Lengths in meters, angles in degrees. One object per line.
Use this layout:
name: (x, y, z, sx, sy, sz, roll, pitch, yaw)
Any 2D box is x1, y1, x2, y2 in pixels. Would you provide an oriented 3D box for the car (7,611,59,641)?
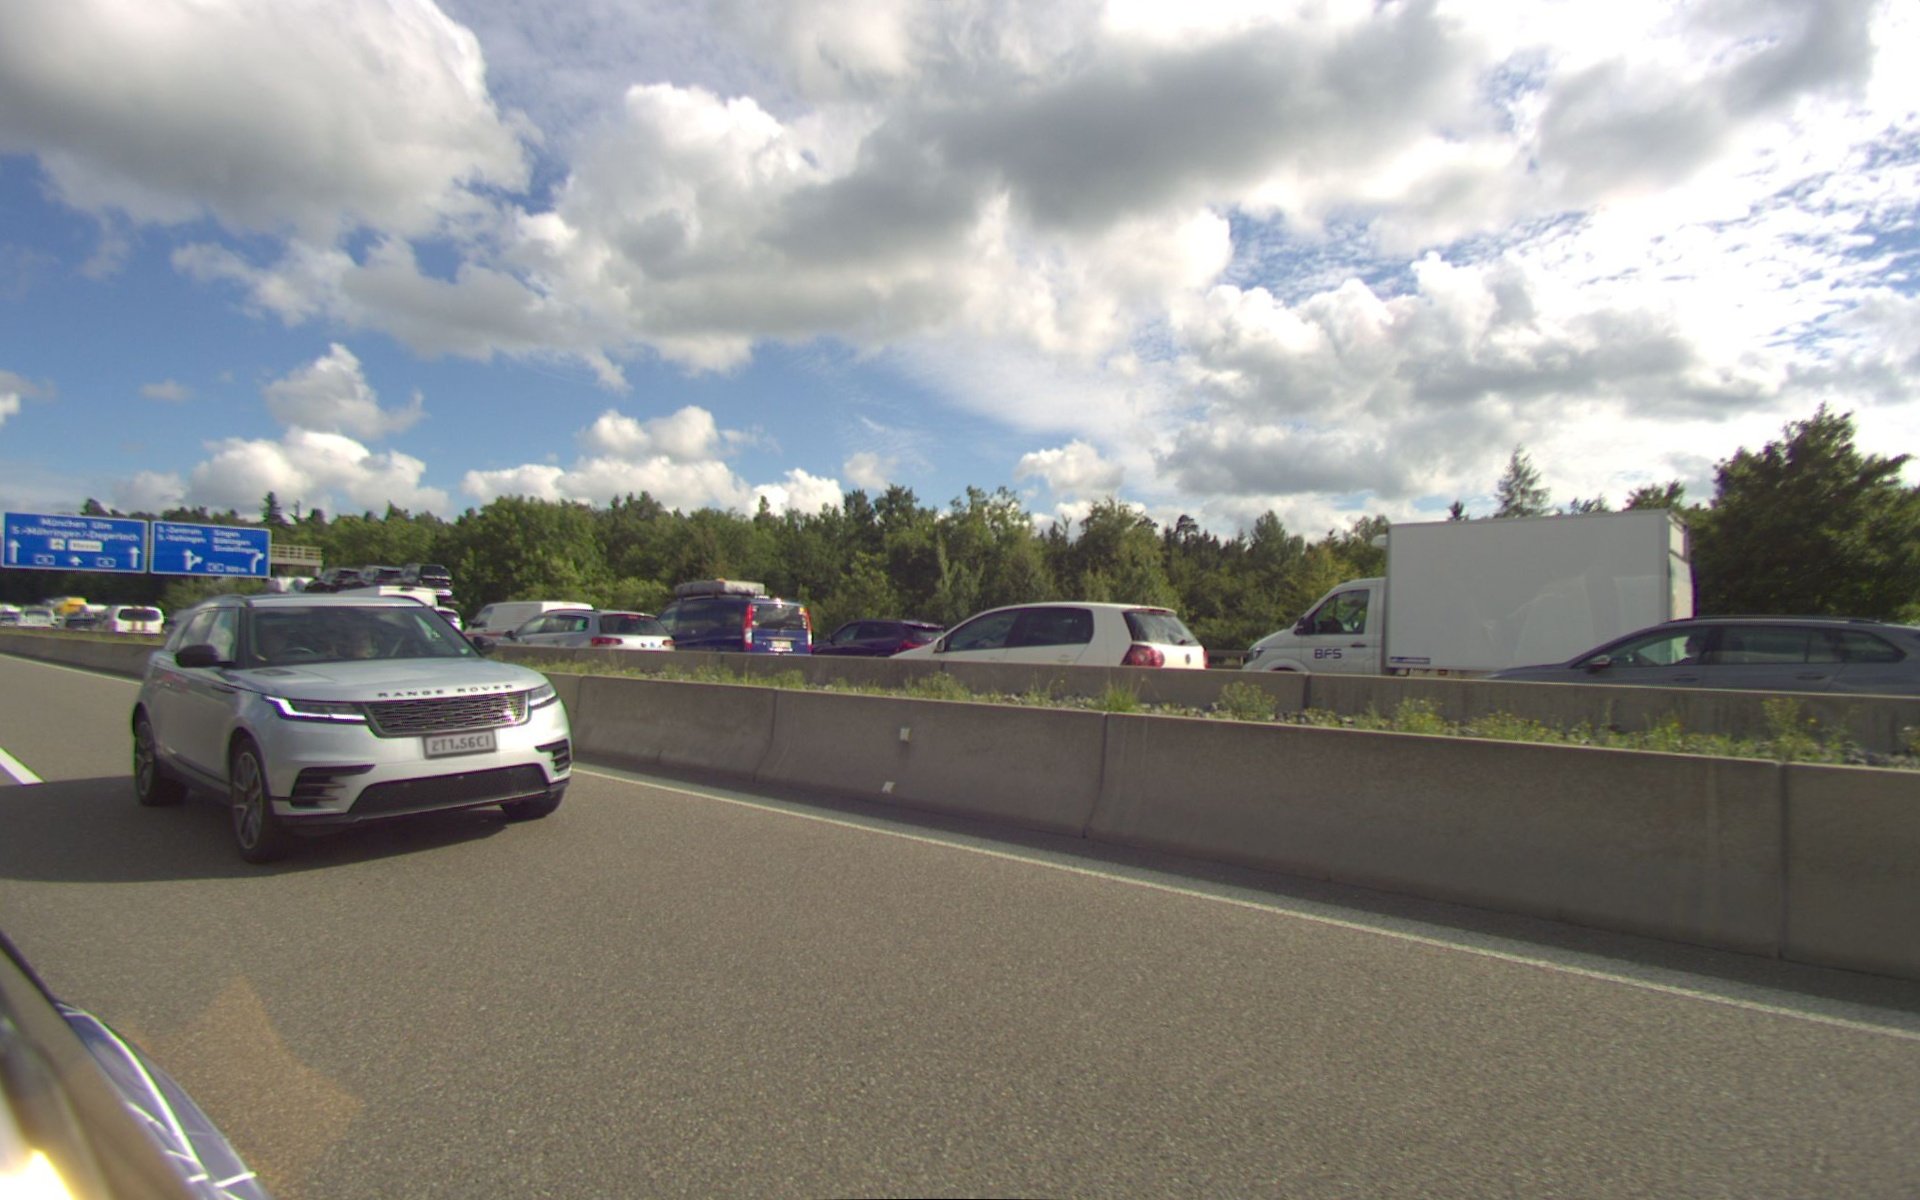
car: (-60.968, 1.701, 66.523, 4.177, 1.815, 2.065, -2, 0, 42)

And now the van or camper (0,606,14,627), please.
van or camper: (-141.783, 2.464, 149.424, 7.480, 2.911, 2.443, 1, 1, 42)

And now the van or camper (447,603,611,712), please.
van or camper: (-12.248, 1.475, 28.530, 5.749, 2.731, 2.023, 0, 0, 42)

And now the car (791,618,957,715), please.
car: (-2.094, 1.491, 24.047, 3.998, 2.029, 1.626, 0, 0, 41)

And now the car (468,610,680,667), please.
car: (-7.078, 0.664, 18.296, 4.603, 0.864, 1.618, -1, 0, 41)

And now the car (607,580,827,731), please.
car: (-5.531, 1.128, 22.590, 5.400, 2.985, 1.973, -1, 0, 41)

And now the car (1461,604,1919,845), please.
car: (7.852, 1.072, 10.263, 4.654, 2.029, 1.973, 0, 0, 41)

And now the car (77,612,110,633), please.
car: (-81.076, 2.086, 94.666, 3.949, 1.890, 1.781, -1, -1, 42)

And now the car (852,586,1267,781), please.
car: (0.984, 0.791, 11.412, 4.293, 1.756, 1.973, -1, 0, 41)

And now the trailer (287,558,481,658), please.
trailer: (-27.064, 0.290, 46.839, 15.999, 4.005, 2.801, 0, 0, 42)

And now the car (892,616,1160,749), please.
car: (0.985, 1.222, 16.653, 4.293, 1.829, 1.669, 0, 0, 41)

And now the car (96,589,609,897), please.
car: (-4.879, 0.792, 7.724, 5.103, 1.619, 1.880, -1, -1, 41)

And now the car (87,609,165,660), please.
car: (-37.482, 1.490, 45.451, 5.277, 2.116, 1.972, 0, 0, 42)

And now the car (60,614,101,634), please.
car: (-69.654, 1.883, 80.116, 5.374, 1.460, 1.769, -1, 0, 42)

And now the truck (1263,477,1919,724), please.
truck: (8.785, 0.048, 15.027, 7.945, 2.822, 2.304, -1, 0, 41)

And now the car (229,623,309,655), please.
car: (-30.429, 1.686, 44.524, 4.564, 1.240, 1.813, -1, 0, 41)

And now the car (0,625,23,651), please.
car: (-72.887, 2.874, 77.175, 3.949, 1.890, 1.781, -1, 0, 42)

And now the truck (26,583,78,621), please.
truck: (-97.992, 0.195, 109.221, 6.799, 3.930, 3.381, -1, -1, 41)

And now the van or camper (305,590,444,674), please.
van or camper: (-20.914, 1.039, 35.986, 6.630, 2.731, 2.366, 0, 0, 42)

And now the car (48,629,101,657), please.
car: (-47.343, 2.267, 54.075, 3.999, 1.383, 1.677, -1, -2, 42)

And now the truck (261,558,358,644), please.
truck: (-34.328, 0.062, 53.338, 5.710, 4.266, 2.824, -1, 0, 41)

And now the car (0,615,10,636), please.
car: (-84.153, 2.222, 88.087, 4.936, 1.812, 1.748, -1, 0, 42)

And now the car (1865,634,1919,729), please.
car: (17.564, 1.380, 16.448, 4.204, 1.506, 1.821, 0, 0, 41)

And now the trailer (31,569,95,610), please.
trailer: (-92.618, -0.979, 104.385, 13.255, 3.857, 3.376, -1, -1, 42)

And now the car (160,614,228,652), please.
car: (-39.315, 1.661, 51.881, 4.695, 1.890, 1.891, -1, -1, 42)

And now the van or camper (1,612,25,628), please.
van or camper: (-127.442, 2.669, 136.237, 2.255, 2.026, 4.694, -1, 0, -41)
